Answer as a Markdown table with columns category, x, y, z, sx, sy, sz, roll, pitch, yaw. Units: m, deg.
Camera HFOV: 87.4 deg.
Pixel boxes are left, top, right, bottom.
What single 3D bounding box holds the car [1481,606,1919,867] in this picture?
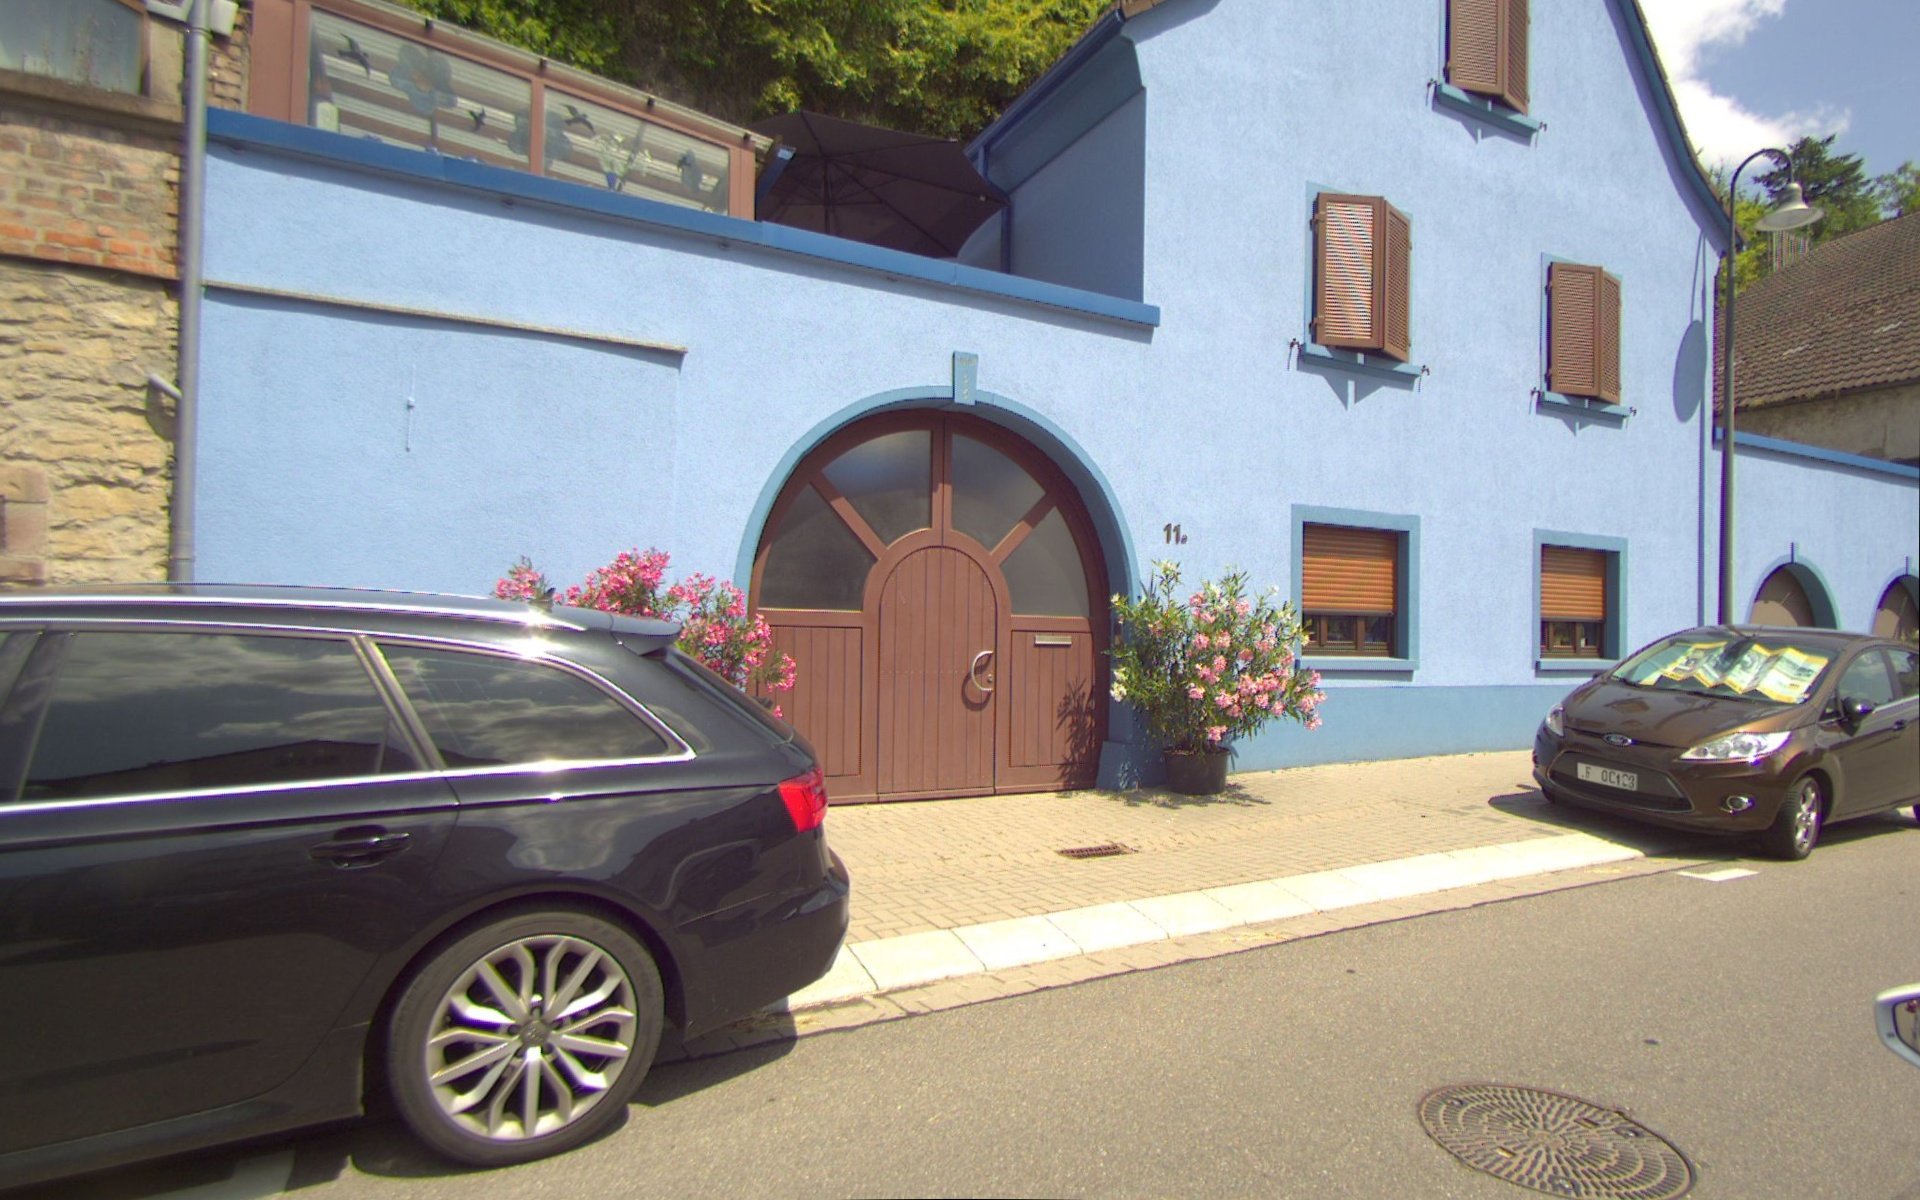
| category | x | y | z | sx | sy | sz | roll | pitch | yaw |
| --- | --- | --- | --- | --- | --- | --- | --- | --- | --- |
| car | 5.995 | 0.863 | 7.691 | 3.808 | 1.550 | 1.710 | 1 | 0 | -28 |

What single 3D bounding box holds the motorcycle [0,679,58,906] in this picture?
| category | x | y | z | sx | sy | sz | roll | pitch | yaw |
| --- | --- | --- | --- | --- | --- | --- | --- | --- | --- |
| motorcycle | -5.267 | 0.884 | 4.437 | 1.837 | 1.014 | 0.415 | 2 | 2 | -31 |

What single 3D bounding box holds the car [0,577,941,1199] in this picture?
| category | x | y | z | sx | sy | sz | roll | pitch | yaw |
| --- | --- | --- | --- | --- | --- | --- | --- | --- | --- |
| car | -2.533 | 0.698 | 2.797 | 4.609 | 1.484 | 1.877 | 1 | 2 | -28 |
